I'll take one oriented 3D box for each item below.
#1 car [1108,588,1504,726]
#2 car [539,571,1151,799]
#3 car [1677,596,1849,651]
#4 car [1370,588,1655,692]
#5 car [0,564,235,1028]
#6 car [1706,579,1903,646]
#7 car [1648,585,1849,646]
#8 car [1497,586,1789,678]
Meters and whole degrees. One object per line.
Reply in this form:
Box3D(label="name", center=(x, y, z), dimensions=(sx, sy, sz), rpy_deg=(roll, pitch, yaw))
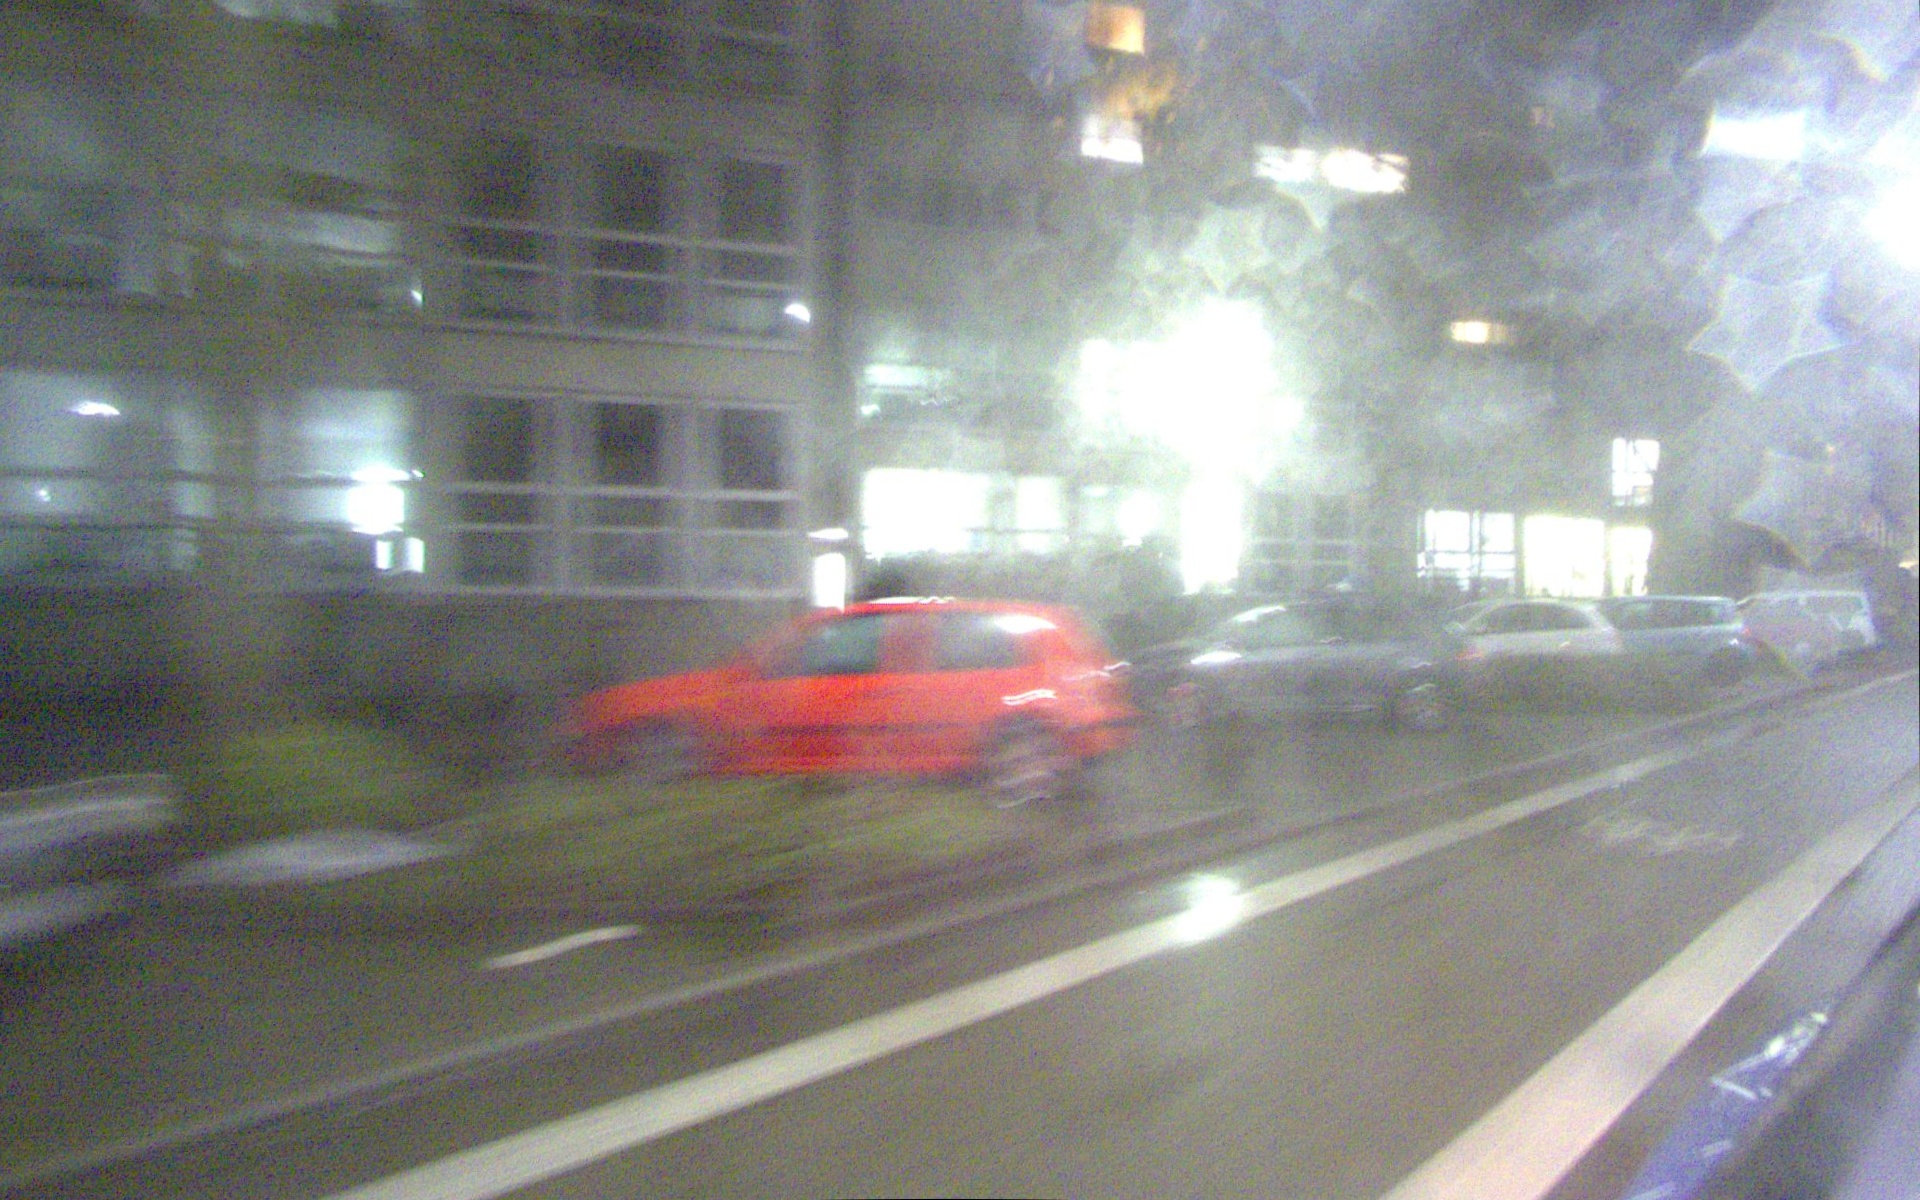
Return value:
Box3D(label="car", center=(3.830, 0.624, 11.826), dimensions=(4.091, 1.463, 1.652), rpy_deg=(-1, 0, 8))
Box3D(label="car", center=(-0.782, 0.585, 7.611), dimensions=(4.108, 1.501, 1.662), rpy_deg=(-1, -1, 2))
Box3D(label="car", center=(19.273, 0.542, 24.382), dimensions=(2.891, 1.238, 1.507), rpy_deg=(0, 1, 3))
Box3D(label="car", center=(8.722, 0.608, 16.238), dimensions=(3.602, 1.546, 1.715), rpy_deg=(0, 1, 4))
Box3D(label="car", center=(-5.048, 0.620, 3.421), dimensions=(4.185, 1.435, 1.781), rpy_deg=(0, 1, 9))
Box3D(label="car", center=(23.609, 0.336, 28.434), dimensions=(3.898, 1.793, 1.664), rpy_deg=(0, 1, 13))
Box3D(label="car", center=(20.901, 0.375, 27.012), dimensions=(3.913, 1.527, 1.608), rpy_deg=(0, 1, 23))
Box3D(label="car", center=(12.153, 0.536, 18.255), dimensions=(3.946, 1.546, 1.797), rpy_deg=(0, 1, 8))
